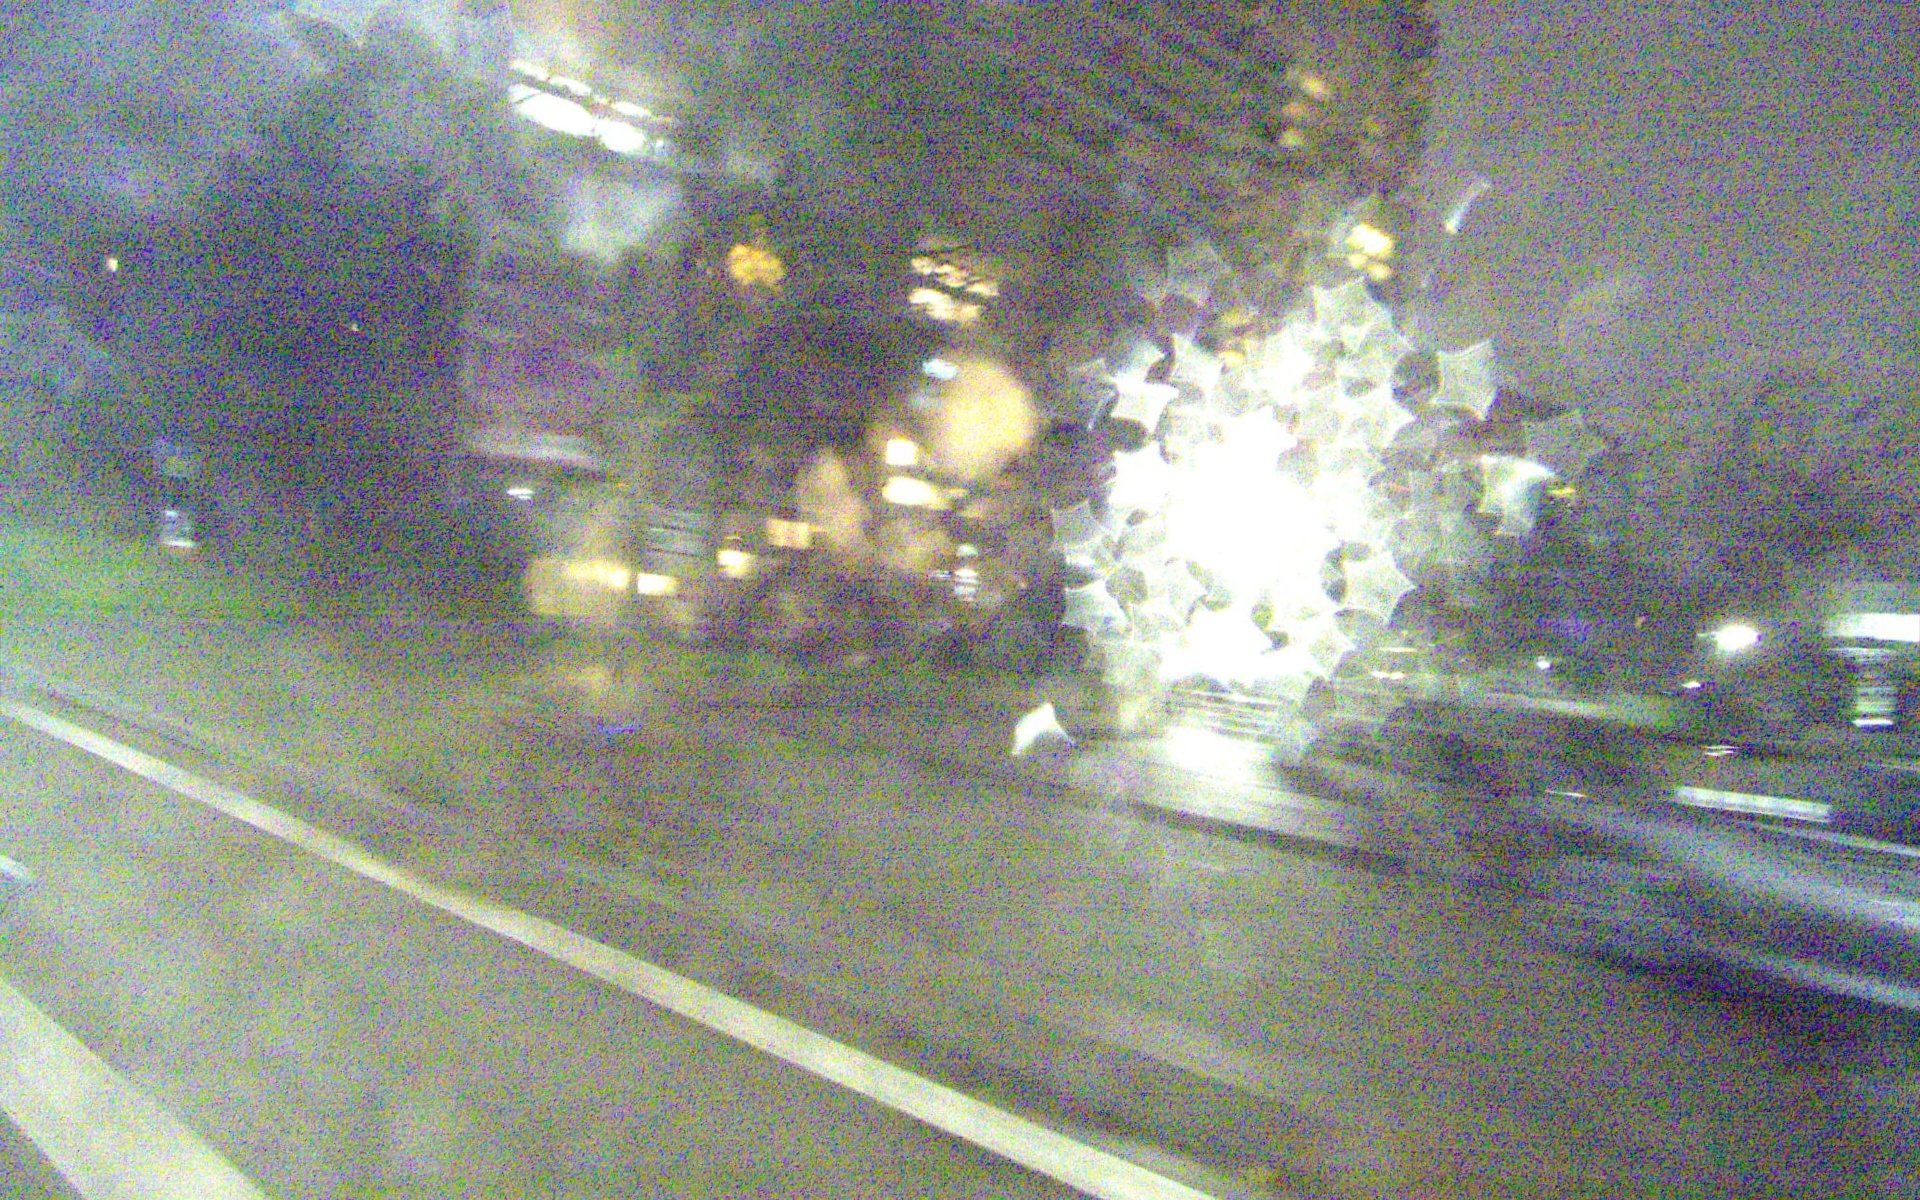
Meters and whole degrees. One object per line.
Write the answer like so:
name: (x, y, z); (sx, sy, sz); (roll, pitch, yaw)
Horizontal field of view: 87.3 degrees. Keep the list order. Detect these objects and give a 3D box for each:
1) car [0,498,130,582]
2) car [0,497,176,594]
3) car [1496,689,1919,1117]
car: (-19.804, -1.326, 20.847); (1.627, 1.536, 3.707); (7, 0, 13)
car: (-16.795, -1.049, 17.656); (1.805, 1.493, 4.602); (7, 0, 12)
car: (4.602, 1.391, 4.416); (1.652, 1.485, 4.338); (7, -1, -7)
